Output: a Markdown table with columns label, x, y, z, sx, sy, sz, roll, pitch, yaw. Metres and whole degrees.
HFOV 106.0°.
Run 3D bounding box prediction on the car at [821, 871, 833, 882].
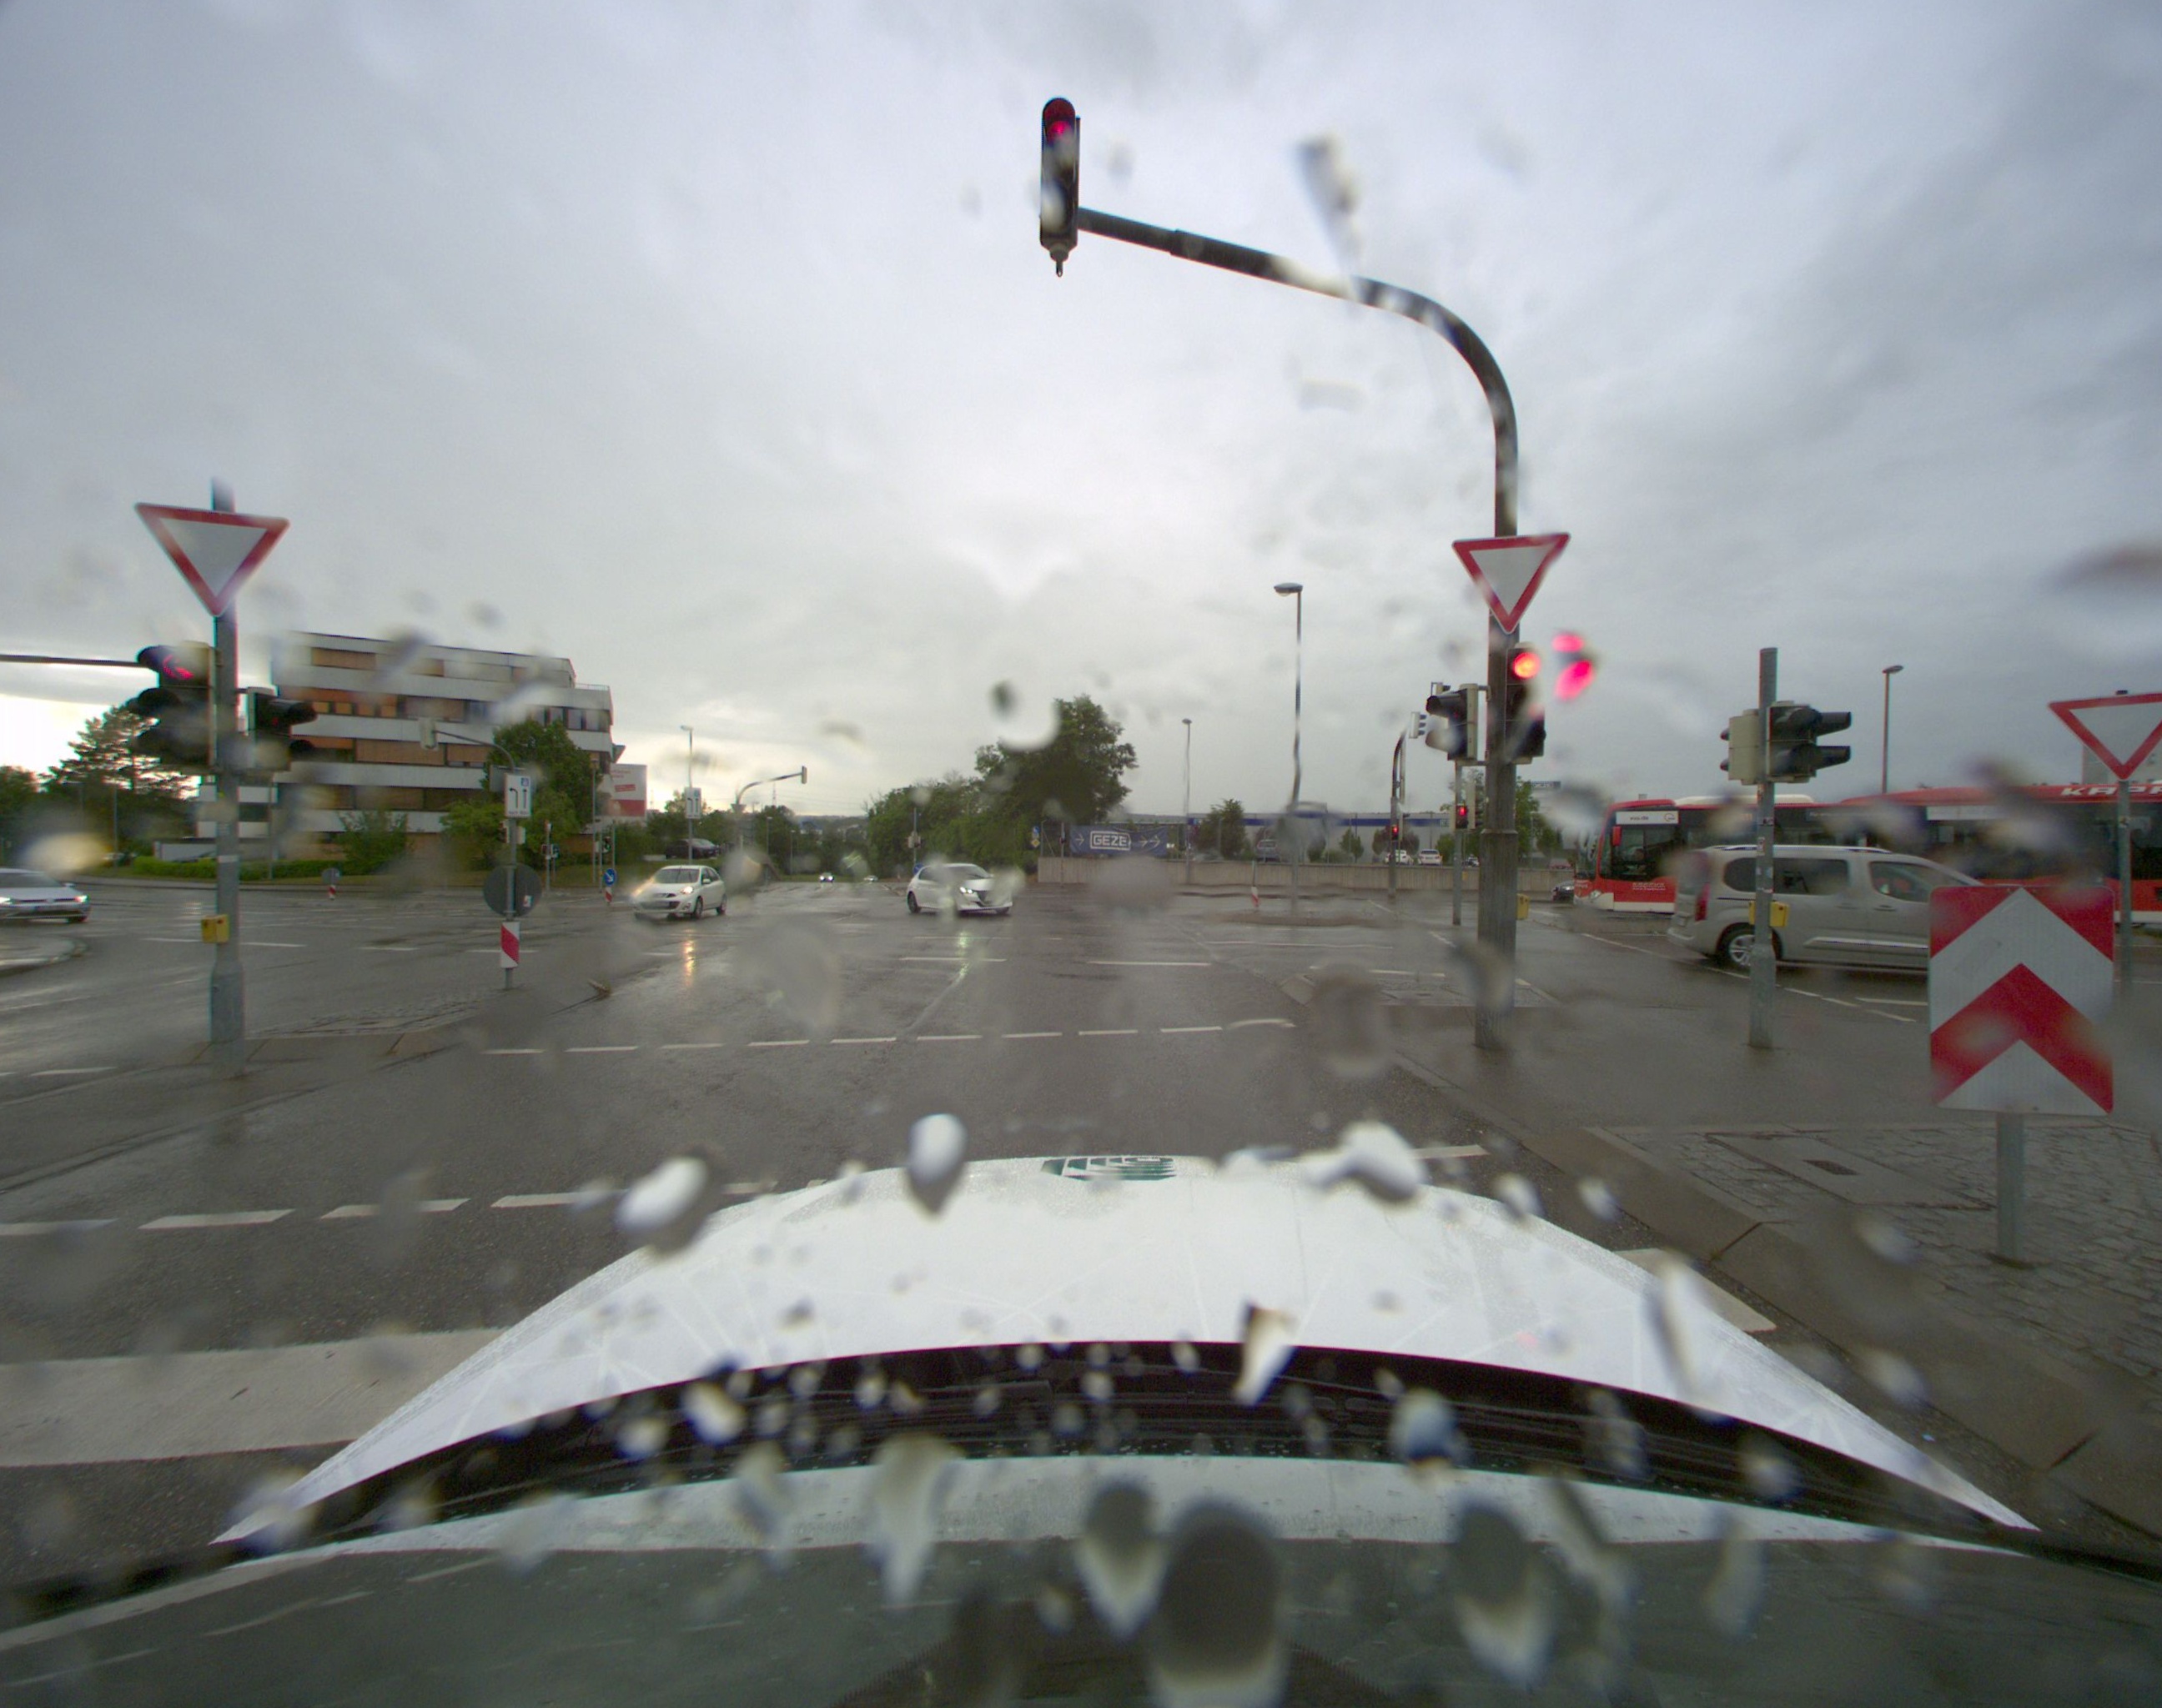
| label | x | y | z | sx | sy | sz | roll | pitch | yaw |
| --- | --- | --- | --- | --- | --- | --- | --- | --- | --- |
| car | -37.423 | 3.314 | 119.803 | 1.666 | 1.494 | 3.975 | 0 | -1 | -18 |

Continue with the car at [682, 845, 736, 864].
| label | x | y | z | sx | sy | sz | roll | pitch | yaw |
| --- | --- | --- | --- | --- | --- | --- | --- | --- | --- |
| car | -32.860 | 0.071 | 72.035 | 3.958 | 1.586 | 1.909 | 0 | -2 | 14 |

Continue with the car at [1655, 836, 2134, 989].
| label | x | y | z | sx | sy | sz | roll | pitch | yaw |
| --- | --- | --- | --- | --- | --- | --- | --- | --- | --- |
| car | 11.105 | 0.729 | 11.667 | 4.427 | 1.844 | 2.012 | -1 | -1 | 26 |

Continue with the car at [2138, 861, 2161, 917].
| label | x | y | z | sx | sy | sz | roll | pitch | yaw |
| --- | --- | --- | --- | --- | --- | --- | --- | --- | --- |
| car | 31.669 | 0.966 | 21.500 | 4.344 | 1.538 | 1.834 | 0 | 0 | 18 |

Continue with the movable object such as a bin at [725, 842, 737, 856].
| label | x | y | z | sx | sy | sz | roll | pitch | yaw |
| --- | --- | --- | --- | --- | --- | --- | --- | --- | --- |
| movable object such as a bin | -37.772 | -0.531 | 87.898 | 1.089 | 1.437 | 1.434 | 1 | -3 | -25 |

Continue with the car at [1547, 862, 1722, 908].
| label | x | y | z | sx | sy | sz | roll | pitch | yaw |
| --- | --- | --- | --- | --- | --- | --- | --- | --- | --- |
| car | 17.617 | 0.963 | 26.169 | 4.344 | 1.354 | 1.834 | 0 | 0 | 18 |

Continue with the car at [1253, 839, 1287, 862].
| label | x | y | z | sx | sy | sz | roll | pitch | yaw |
| --- | --- | --- | --- | --- | --- | --- | --- | --- | --- |
| car | 13.341 | -0.233 | 57.298 | 1.727 | 1.553 | 3.550 | -1 | -1 | 23 |

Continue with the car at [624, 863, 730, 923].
| label | x | y | z | sx | sy | sz | roll | pitch | yaw |
| --- | --- | --- | --- | --- | --- | --- | --- | --- | --- |
| car | -11.726 | 1.064 | 23.912 | 1.619 | 1.505 | 3.811 | -2 | 0 | -8 |

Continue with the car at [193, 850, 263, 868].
| label | x | y | z | sx | sy | sz | roll | pitch | yaw |
| --- | --- | --- | --- | --- | --- | --- | --- | --- | --- |
| car | -70.147 | 0.368 | 67.060 | 3.779 | 1.399 | 1.977 | 0 | 0 | -40 |

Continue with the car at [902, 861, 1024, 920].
| label | x | y | z | sx | sy | sz | roll | pitch | yaw |
| --- | --- | --- | --- | --- | --- | --- | --- | --- | --- |
| car | -3.465 | 0.981 | 23.398 | 1.879 | 1.508 | 3.937 | 0 | -1 | -35 |

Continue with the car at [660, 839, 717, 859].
| label | x | y | z | sx | sy | sz | roll | pitch | yaw |
| --- | --- | --- | --- | --- | --- | --- | --- | --- | --- |
| car | -33.439 | -0.441 | 69.363 | 3.962 | 1.586 | 1.907 | 0 | -2 | 10 |

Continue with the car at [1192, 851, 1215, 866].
| label | x | y | z | sx | sy | sz | roll | pitch | yaw |
| --- | --- | --- | --- | --- | --- | --- | --- | --- | --- |
| car | 13.938 | 0.519 | 92.461 | 1.651 | 1.606 | 3.550 | -1 | -1 | 23 |

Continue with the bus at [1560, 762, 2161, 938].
| label | x | y | z | sx | sy | sz | roll | pitch | yaw |
| --- | --- | --- | --- | --- | --- | --- | --- | --- | --- |
| bus | 18.661 | -0.182 | 19.335 | 12.152 | 3.576 | 3.001 | 2 | 0 | 19 |

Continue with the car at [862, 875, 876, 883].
| label | x | y | z | sx | sy | sz | roll | pitch | yaw |
| --- | --- | --- | --- | --- | --- | --- | --- | --- | --- |
| car | -42.639 | 4.961 | 163.996 | 1.713 | 1.494 | 4.002 | 0 | -1 | 3 |

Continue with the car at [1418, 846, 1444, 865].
| label | x | y | z | sx | sy | sz | roll | pitch | yaw |
| --- | --- | --- | --- | --- | --- | --- | --- | --- | --- |
| car | 28.888 | 0.149 | 67.208 | 1.841 | 1.526 | 4.127 | -1 | -1 | 25 |

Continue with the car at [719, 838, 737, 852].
| label | x | y | z | sx | sy | sz | roll | pitch | yaw |
| --- | --- | --- | --- | --- | --- | --- | --- | --- | --- |
| car | -41.822 | -1.016 | 96.419 | 1.836 | 1.442 | 3.967 | 1 | -2 | -25 |

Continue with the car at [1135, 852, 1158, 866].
| label | x | y | z | sx | sy | sz | roll | pitch | yaw |
| --- | --- | --- | --- | --- | --- | --- | --- | --- | --- |
| car | 7.754 | 0.591 | 95.915 | 1.651 | 1.606 | 3.550 | -1 | -1 | 23 |

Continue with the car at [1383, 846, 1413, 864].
| label | x | y | z | sx | sy | sz | roll | pitch | yaw |
| --- | --- | --- | --- | --- | --- | --- | --- | --- | --- |
| car | 26.461 | 0.126 | 67.898 | 1.800 | 1.434 | 4.128 | -1 | -1 | 28 |

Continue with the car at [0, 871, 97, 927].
| label | x | y | z | sx | sy | sz | roll | pitch | yaw |
| --- | --- | --- | --- | --- | --- | --- | --- | --- | --- |
| car | -28.765 | 1.162 | 21.748 | 4.479 | 1.363 | 1.771 | -1 | -1 | 20 |
